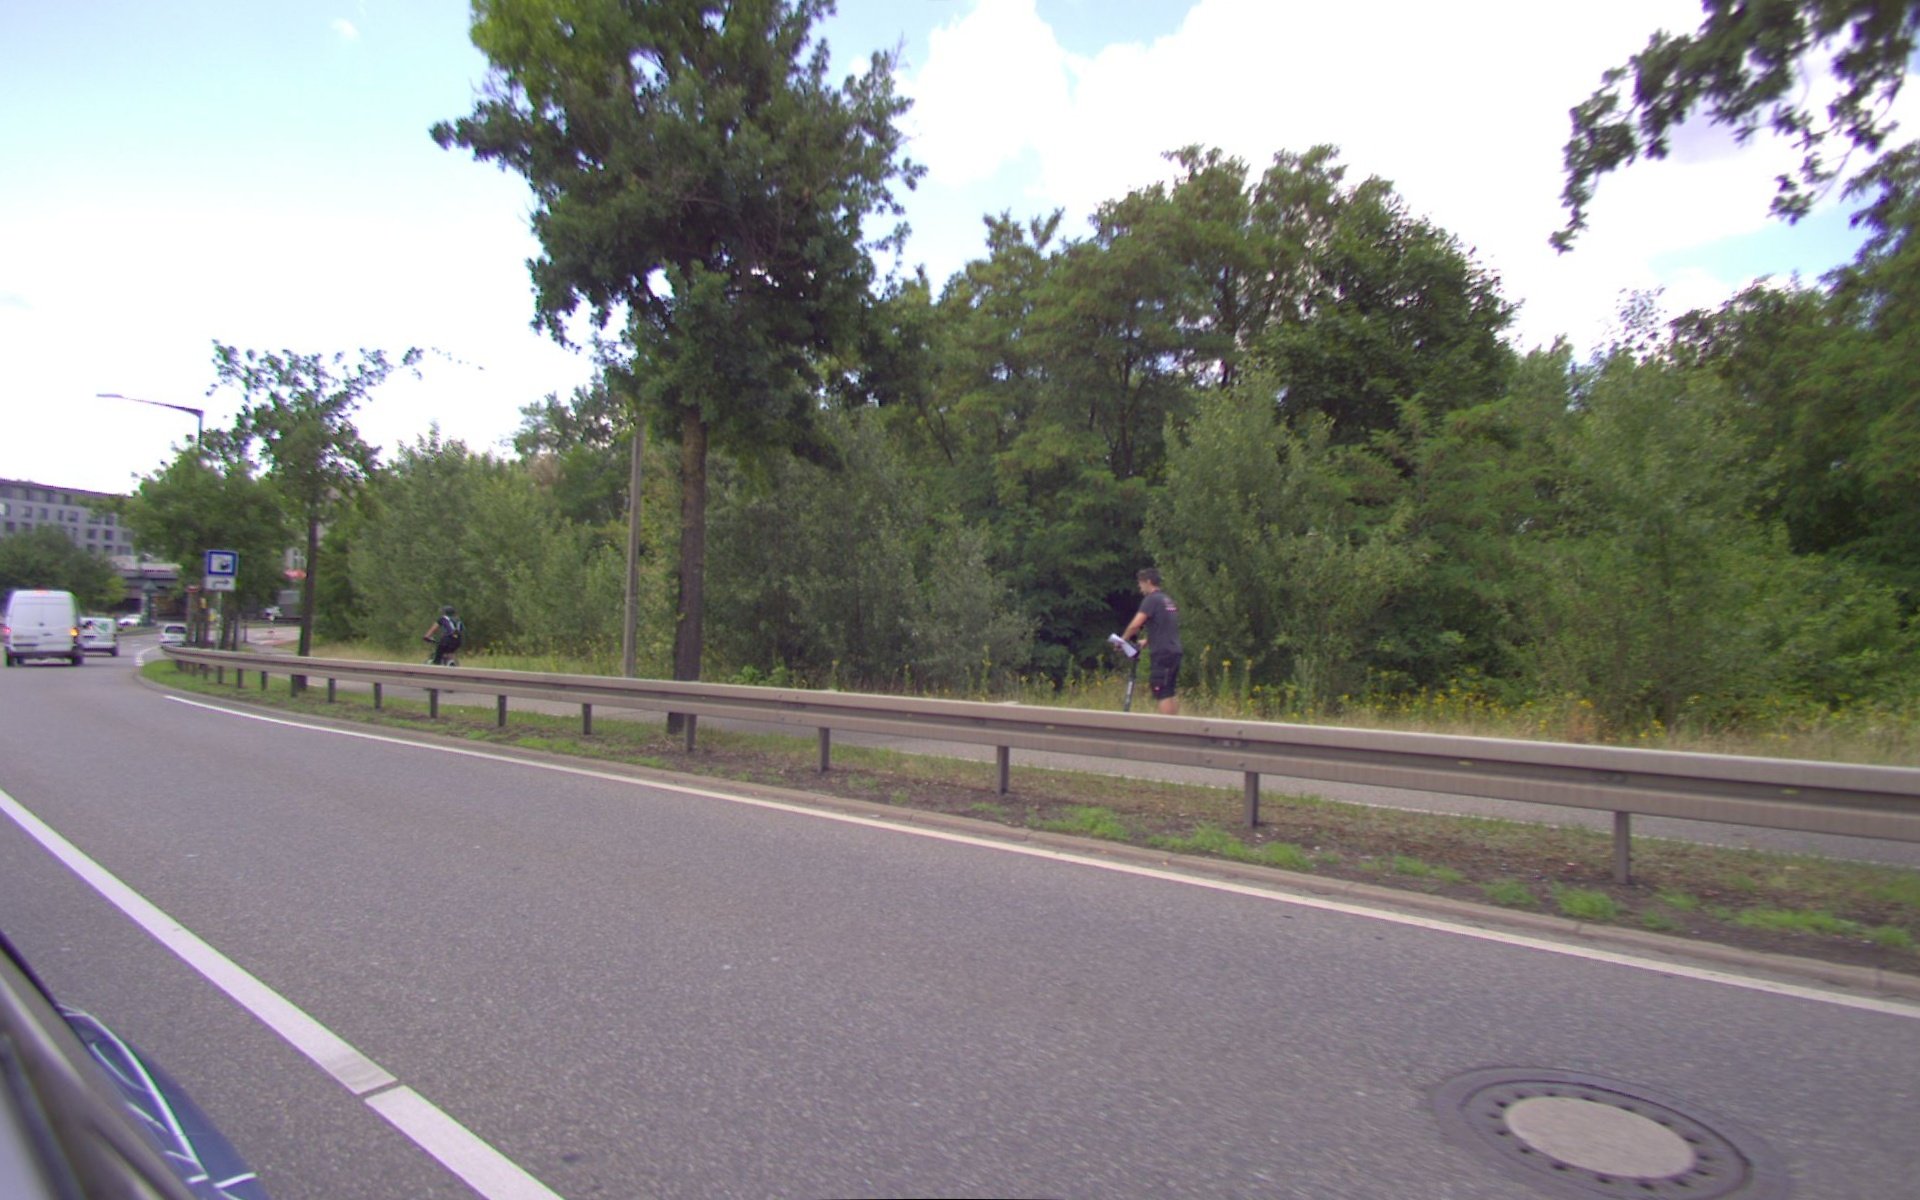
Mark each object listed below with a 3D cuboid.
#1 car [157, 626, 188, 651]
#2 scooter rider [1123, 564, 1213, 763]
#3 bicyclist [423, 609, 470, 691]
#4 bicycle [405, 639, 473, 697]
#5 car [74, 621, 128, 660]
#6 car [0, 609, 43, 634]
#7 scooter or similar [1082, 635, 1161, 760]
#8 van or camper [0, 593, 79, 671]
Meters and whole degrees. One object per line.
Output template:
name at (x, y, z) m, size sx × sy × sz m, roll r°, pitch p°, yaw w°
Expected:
car at (-60.407, 2.970, 77.656) m, size 1.751 × 1.877 × 4.133 m, roll 4°, pitch -4°, yaw -38°
scooter rider at (2.055, 0.609, 9.981) m, size 0.619 × 1.870 × 0.655 m, roll -1°, pitch -3°, yaw 40°
bicyclist at (-10.002, 0.971, 19.707) m, size 0.880 × 1.565 × 0.479 m, roll -1°, pitch -3°, yaw 41°
bicycle at (-10.256, 1.321, 19.908) m, size 1.753 × 1.071 × 0.551 m, roll -1°, pitch -3°, yaw 41°
car at (-43.569, 2.063, 51.413) m, size 1.753 × 1.881 × 5.277 m, roll 3°, pitch -3°, yaw -38°
car at (-90.977, 2.080, 98.081) m, size 1.965 × 2.337 × 4.902 m, roll 0°, pitch -1°, yaw -28°
scooter or similar at (1.644, 0.972, 10.298) m, size 0.558 × 1.216 × 0.628 m, roll -2°, pitch -4°, yaw 39°
van or camper at (-33.441, 1.174, 36.680) m, size 1.970 × 2.602 × 5.987 m, roll 4°, pitch -4°, yaw -43°
